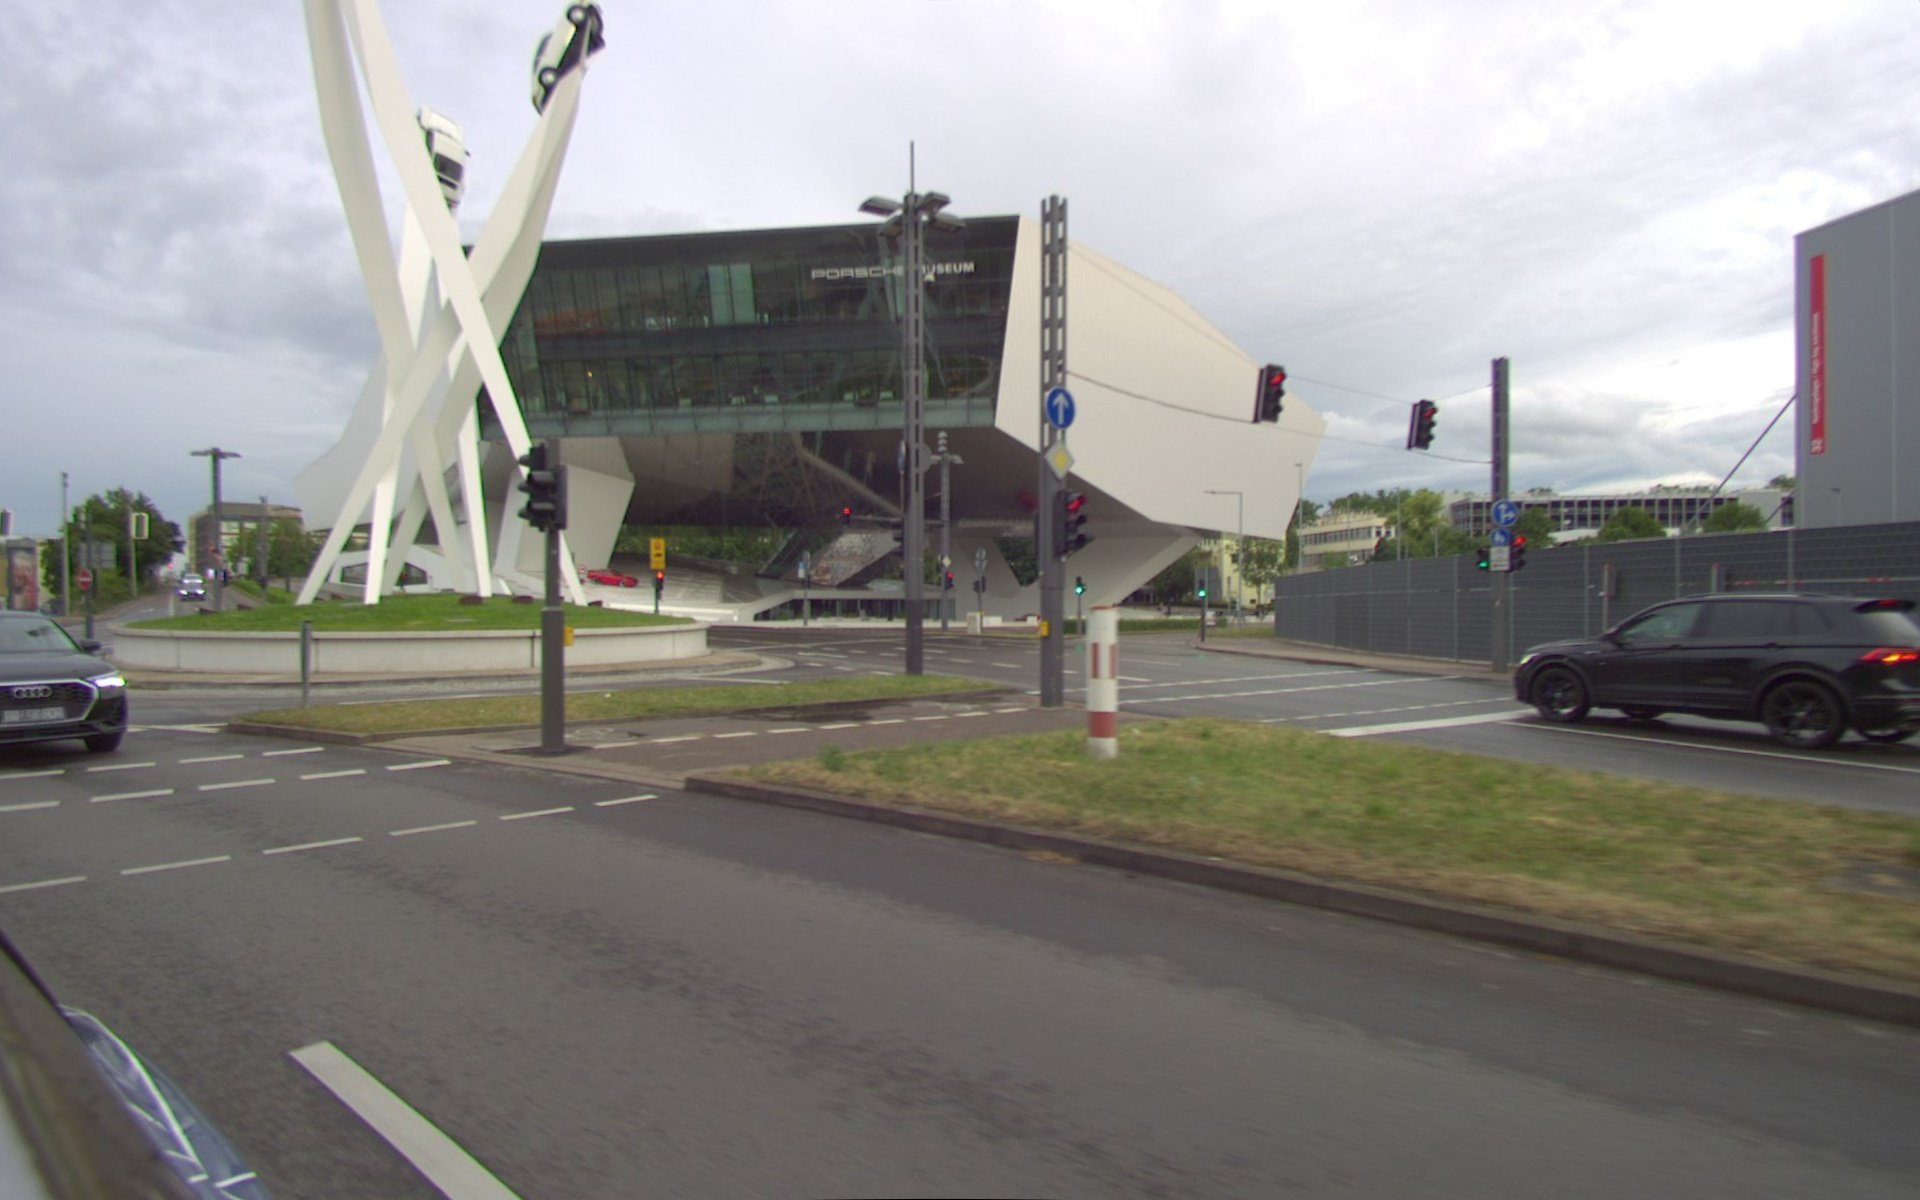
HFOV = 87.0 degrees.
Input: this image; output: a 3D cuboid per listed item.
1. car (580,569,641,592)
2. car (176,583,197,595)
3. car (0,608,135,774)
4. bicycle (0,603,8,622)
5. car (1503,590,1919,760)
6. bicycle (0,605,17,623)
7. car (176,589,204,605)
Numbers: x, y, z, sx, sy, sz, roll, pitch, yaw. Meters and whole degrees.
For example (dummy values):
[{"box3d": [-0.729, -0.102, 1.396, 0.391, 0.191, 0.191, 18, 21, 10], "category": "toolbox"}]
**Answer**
[{"box3d": [-28.909, -1.614, 83.716, 4.196, 1.394, 1.996, 7, 1, 7], "category": "car"}, {"box3d": [-100.536, -1.386, 131.523, 1.790, 1.449, 4.307, 0, -1, -42], "category": "car"}, {"box3d": [-10.721, 0.889, 10.806, 4.382, 1.529, 1.738, -1, 0, 34], "category": "car"}, {"box3d": [-61.131, 0.769, 63.871, 1.521, 1.164, 0.452, 1, 2, -42], "category": "bicycle"}, {"box3d": [9.012, 0.734, 11.801, 1.757, 1.600, 4.581, 0, -1, -24], "category": "car"}, {"box3d": [-59.616, 0.894, 62.901, 0.440, 1.082, 1.451, 3, 1, 22], "category": "bicycle"}, {"box3d": [-74.293, -0.311, 97.608, 1.790, 1.449, 4.307, 0, -1, -42], "category": "car"}]
